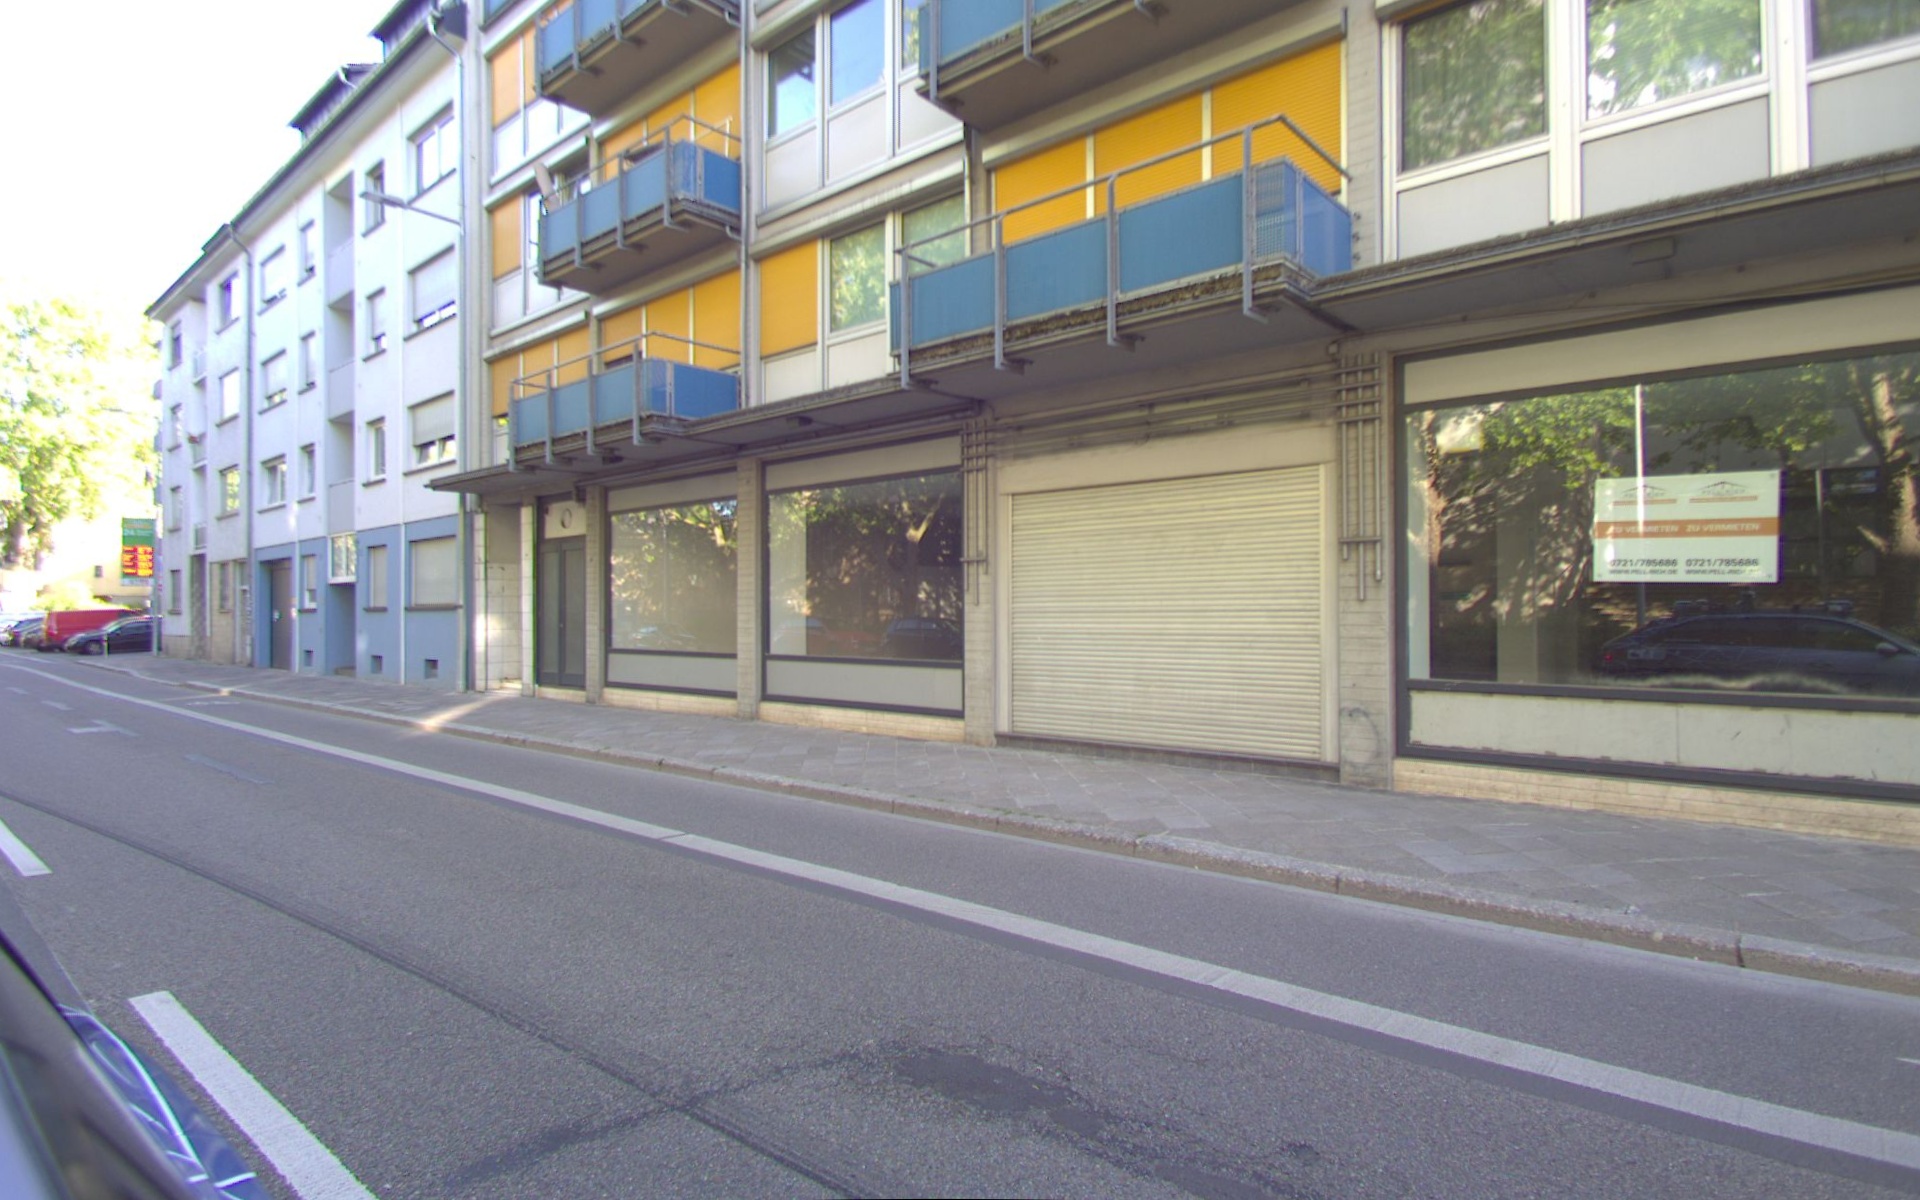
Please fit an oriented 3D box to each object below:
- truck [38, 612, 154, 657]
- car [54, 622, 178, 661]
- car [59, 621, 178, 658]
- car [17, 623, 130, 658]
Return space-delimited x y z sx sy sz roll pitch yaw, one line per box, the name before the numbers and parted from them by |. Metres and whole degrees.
truck | -40.505 1.574 47.491 1.761 1.951 3.944 -1 0 42
car | -36.634 1.765 44.012 1.761 1.468 3.944 -1 0 42
car | -38.114 1.761 45.899 1.761 1.514 3.944 -1 0 42
car | -42.915 1.906 49.038 1.761 1.514 3.944 -1 0 42
